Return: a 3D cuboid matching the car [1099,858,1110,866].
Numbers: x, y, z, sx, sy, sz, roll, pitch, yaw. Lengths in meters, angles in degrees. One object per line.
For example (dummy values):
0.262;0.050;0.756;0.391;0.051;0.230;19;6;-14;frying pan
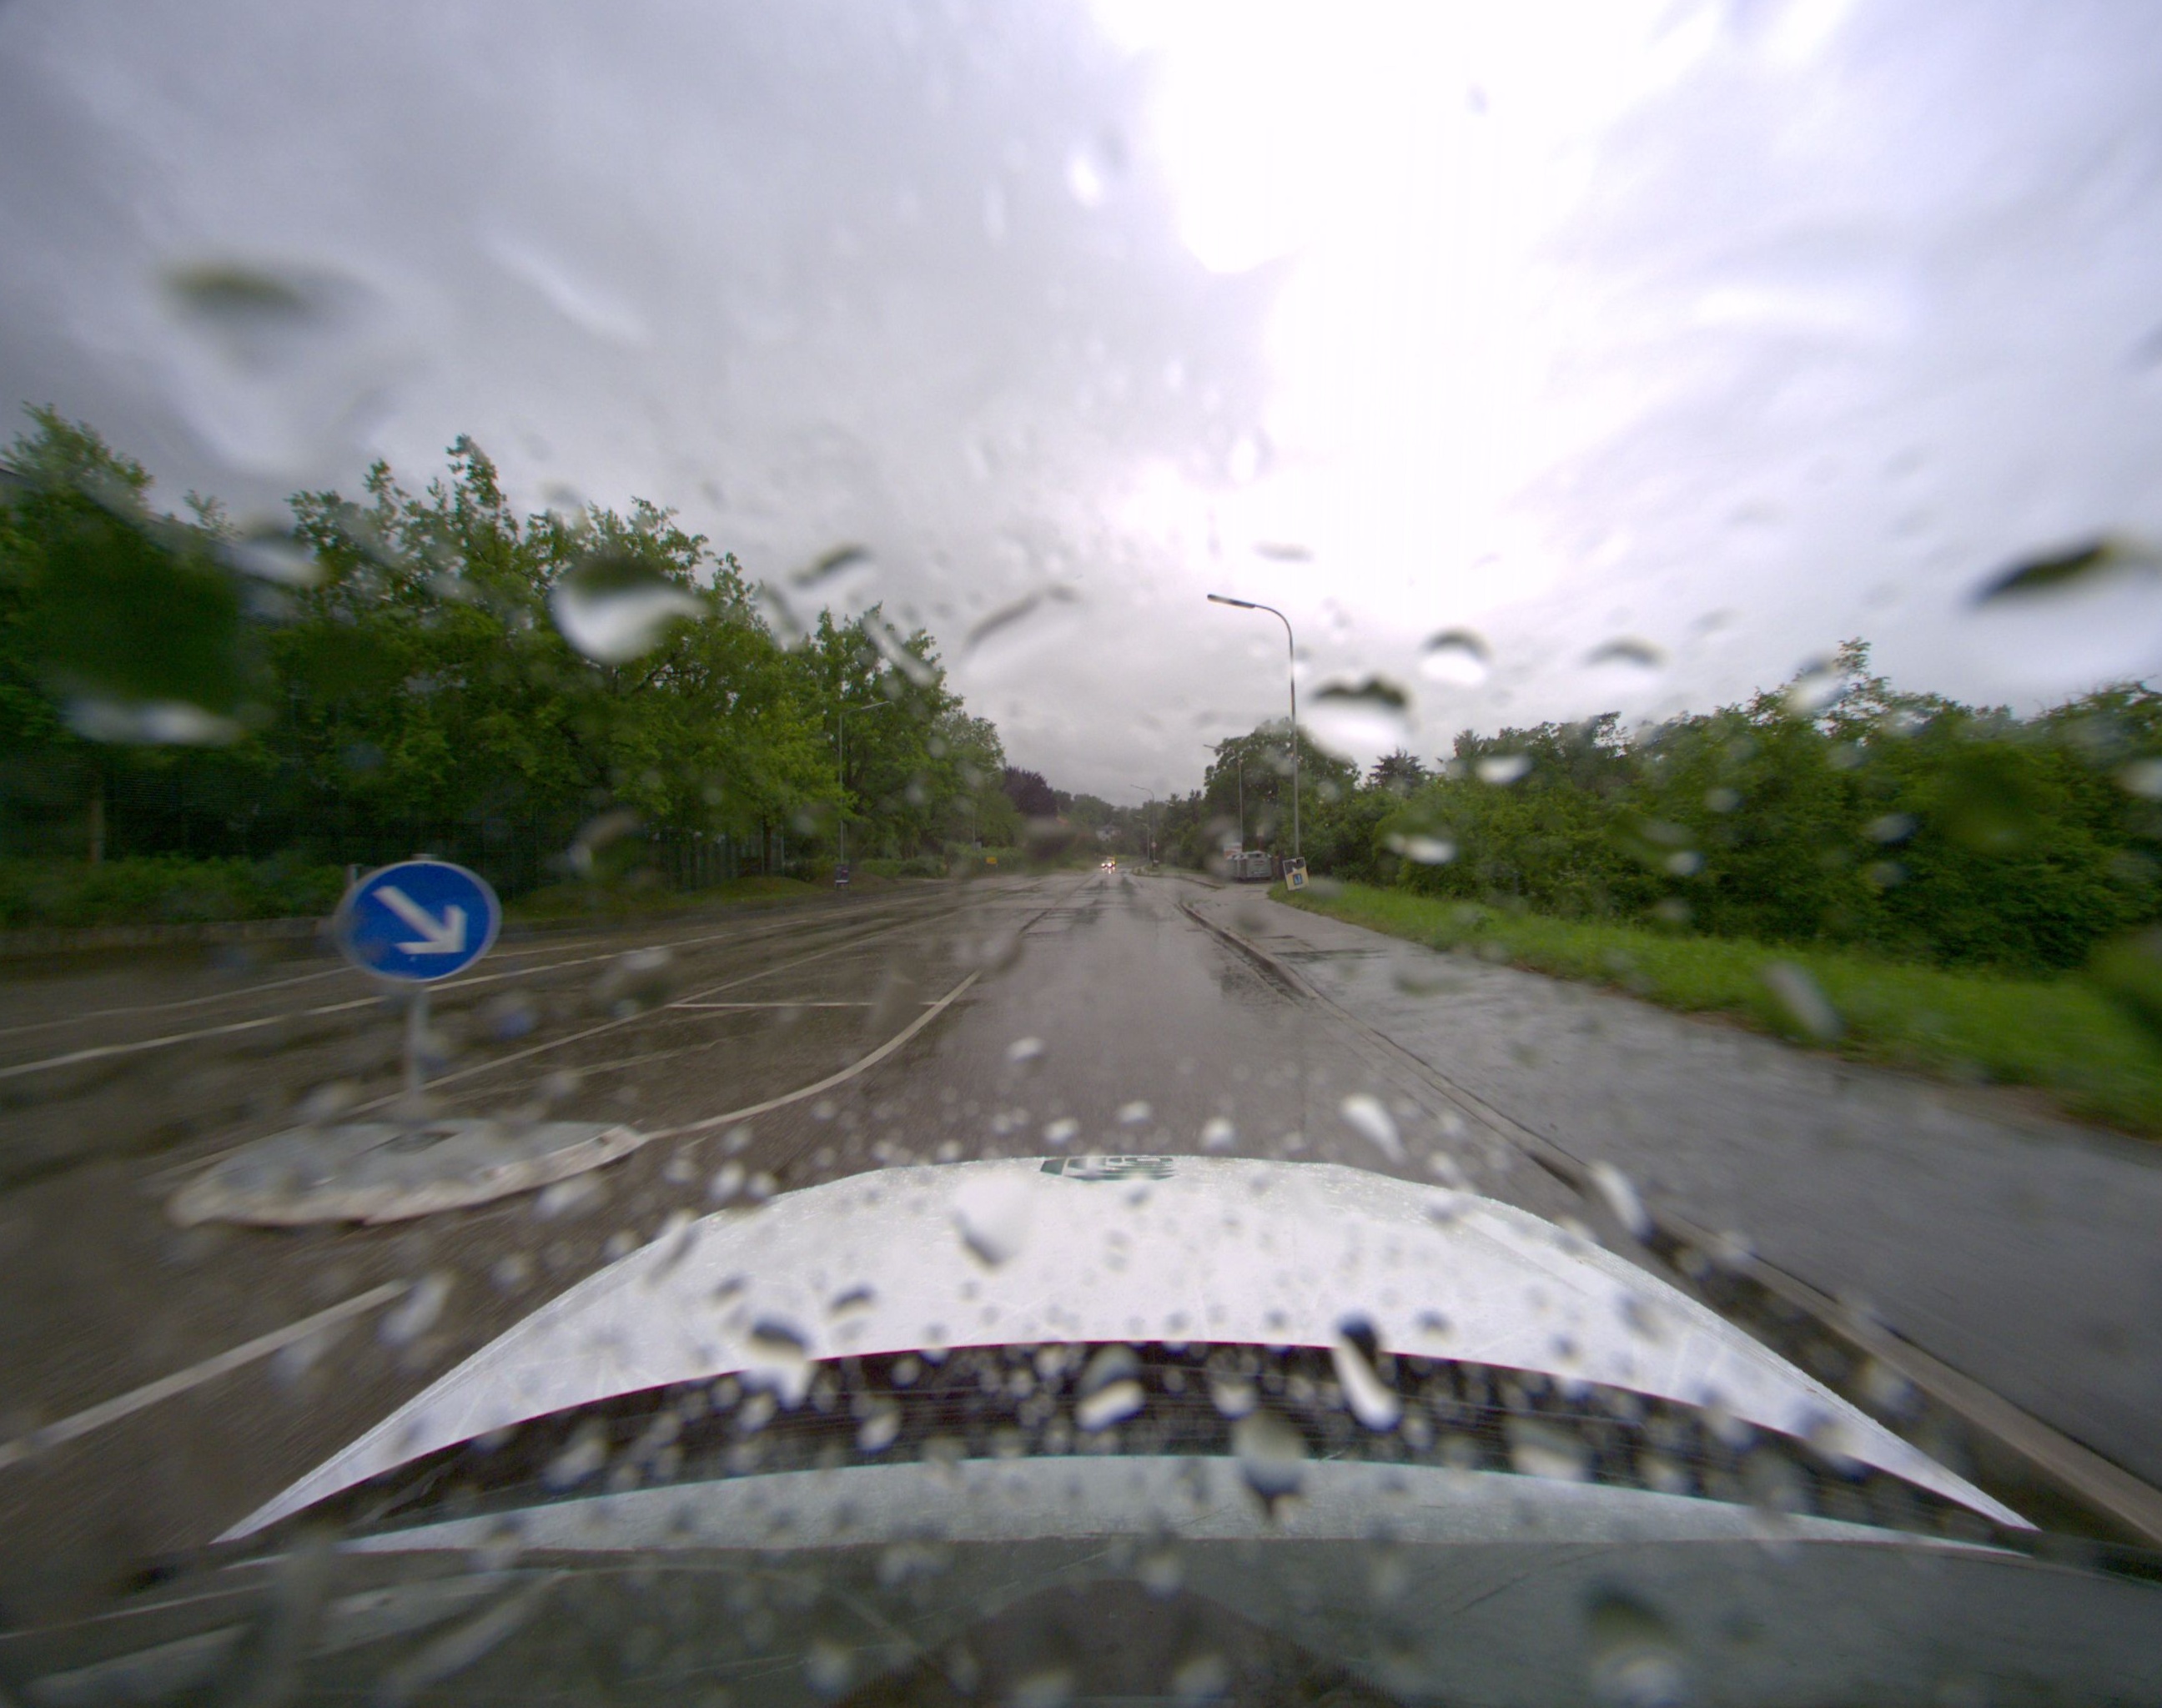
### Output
4.181;1.428;142.843;1.694;1.349;3.909;-1;0;3;car
